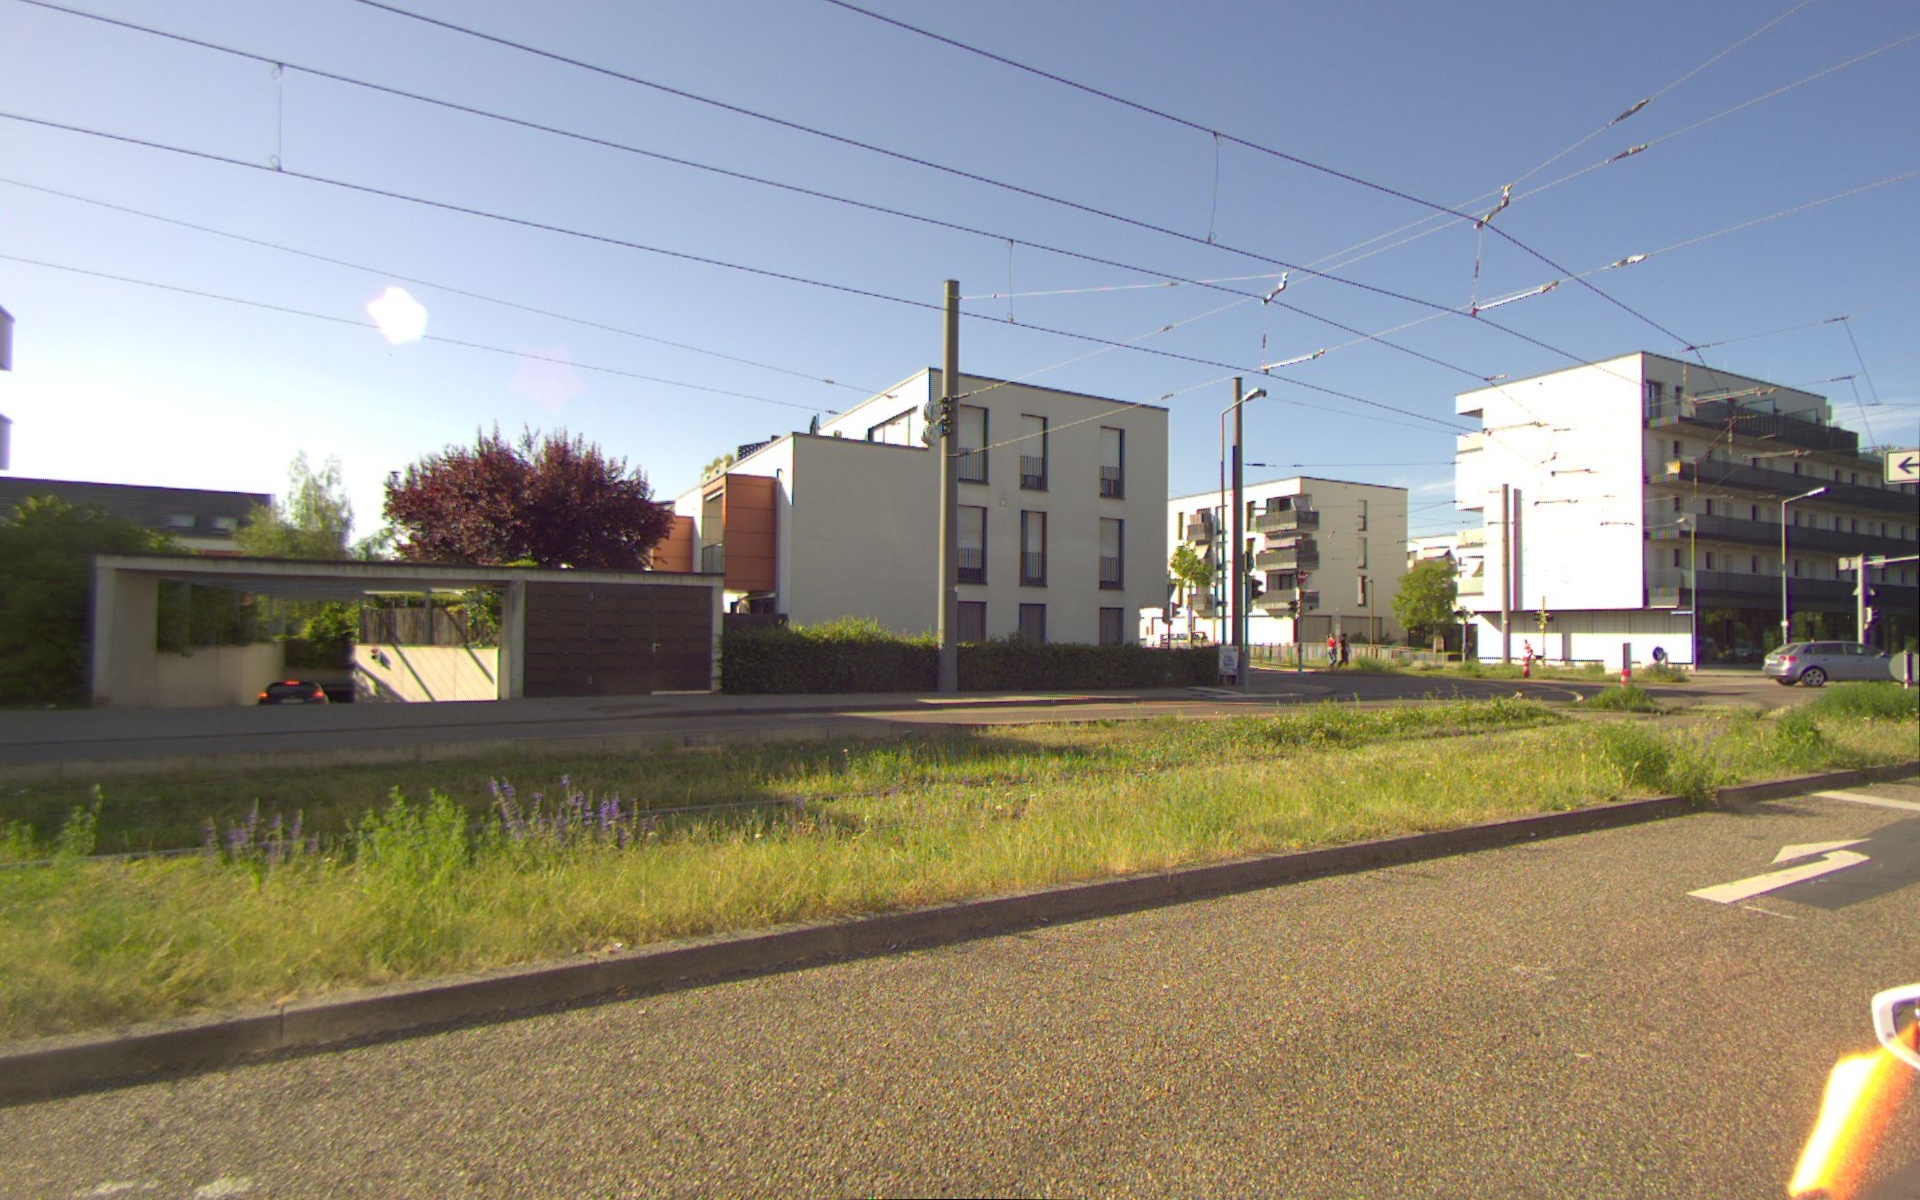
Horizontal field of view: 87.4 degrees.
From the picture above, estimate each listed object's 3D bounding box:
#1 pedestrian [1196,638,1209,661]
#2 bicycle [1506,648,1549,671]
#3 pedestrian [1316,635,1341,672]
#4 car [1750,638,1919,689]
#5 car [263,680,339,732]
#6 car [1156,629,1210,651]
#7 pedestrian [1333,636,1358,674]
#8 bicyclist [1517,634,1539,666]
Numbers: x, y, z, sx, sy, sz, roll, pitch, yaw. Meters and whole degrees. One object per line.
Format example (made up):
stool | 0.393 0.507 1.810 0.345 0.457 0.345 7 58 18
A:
pedestrian | 18.111 3.671 75.050 0.613 1.714 0.809 1 -2 -29
bicycle | 30.070 3.162 53.225 1.827 1.139 0.821 2 0 -9
pedestrian | 16.793 2.436 45.810 0.735 1.626 0.766 2 0 -36
car | 28.062 1.988 32.073 4.029 1.505 1.870 0 -2 21
car | -18.583 3.023 28.451 1.558 1.344 3.971 1 -7 -30
car | 17.774 3.183 80.309 1.974 1.595 4.309 2 0 -27
pedestrian | 17.263 2.446 44.995 0.735 1.626 0.766 2 0 -36
bicyclist | 30.064 2.622 53.208 0.629 1.635 0.784 2 0 -9
